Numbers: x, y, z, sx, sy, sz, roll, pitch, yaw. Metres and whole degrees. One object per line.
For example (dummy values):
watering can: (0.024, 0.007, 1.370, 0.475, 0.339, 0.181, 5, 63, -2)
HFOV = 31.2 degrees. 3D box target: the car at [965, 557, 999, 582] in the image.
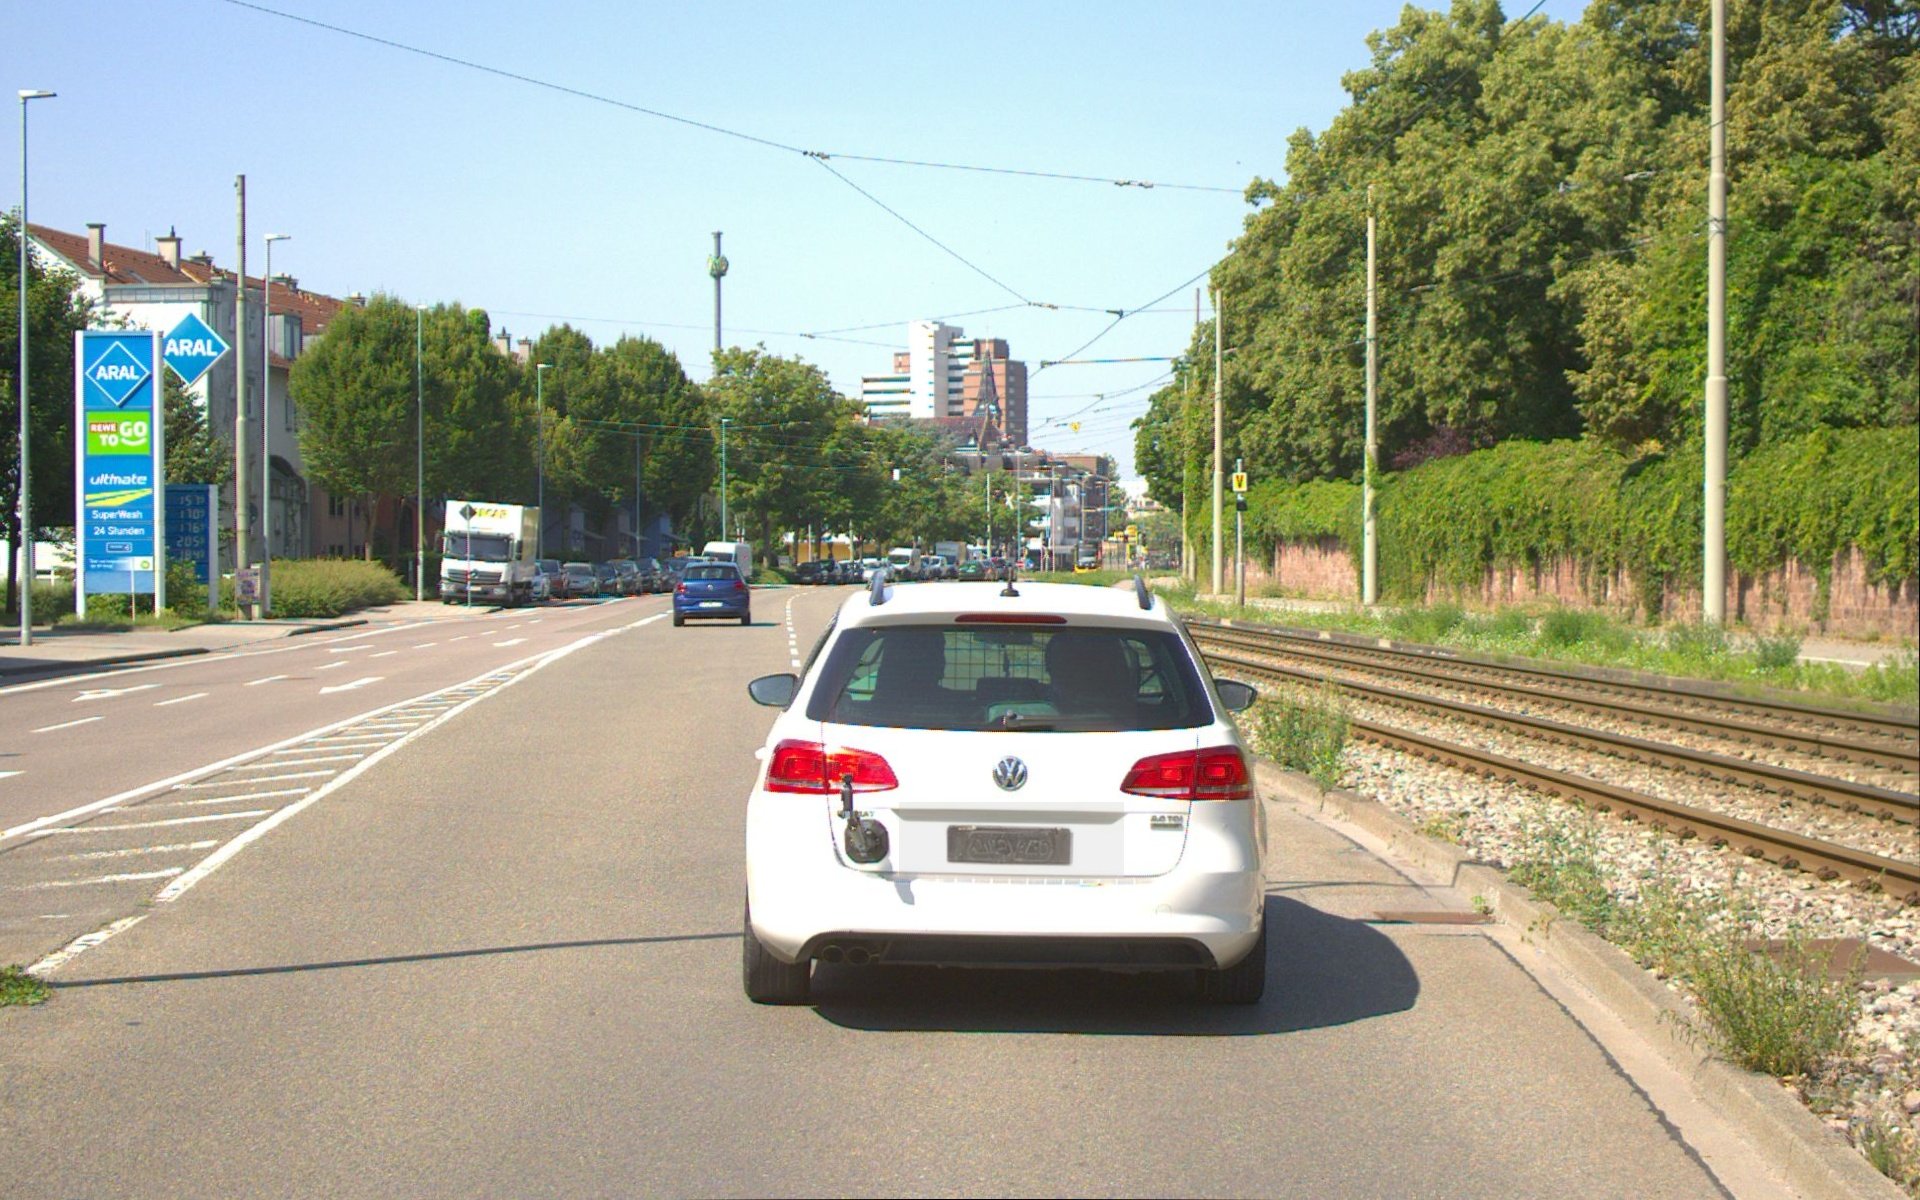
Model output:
car: (1.392, -1.947, 218.779, 1.801, 1.502, 3.999, 1, 1, 6)

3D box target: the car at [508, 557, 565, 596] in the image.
car: (-16.050, -0.880, 130.356, 1.757, 1.424, 4.282, 1, 0, -2)

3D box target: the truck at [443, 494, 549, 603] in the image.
truck: (-15.880, -1.749, 118.053, 2.666, 3.518, 8.591, 1, 0, -2)

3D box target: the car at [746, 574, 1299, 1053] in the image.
car: (0.097, 0.647, 12.869, 1.691, 1.446, 4.459, 1, 1, -3)

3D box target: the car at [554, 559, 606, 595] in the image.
car: (-16.416, -0.967, 148.694, 1.780, 1.478, 4.857, 1, 0, -1)

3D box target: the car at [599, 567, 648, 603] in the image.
car: (-15.777, -0.725, 161.344, 1.717, 1.619, 4.312, 1, 0, 2)

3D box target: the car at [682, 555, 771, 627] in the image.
car: (-5.228, -0.225, 77.294, 1.800, 1.502, 4.001, 1, 1, -1)

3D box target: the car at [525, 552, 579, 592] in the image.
car: (-16.379, -1.126, 138.046, 1.731, 1.546, 4.319, 1, 0, -1)

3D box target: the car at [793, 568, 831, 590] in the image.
car: (-9.527, -1.361, 221.557, 1.700, 1.412, 3.998, 0, 0, 10)

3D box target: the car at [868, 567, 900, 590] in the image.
car: (-4.831, -1.387, 218.581, 1.659, 1.415, 4.309, -2, 0, 3)

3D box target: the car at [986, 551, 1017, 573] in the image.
car: (2.816, -2.564, 232.125, 1.801, 1.455, 3.999, 0, 0, 6)
